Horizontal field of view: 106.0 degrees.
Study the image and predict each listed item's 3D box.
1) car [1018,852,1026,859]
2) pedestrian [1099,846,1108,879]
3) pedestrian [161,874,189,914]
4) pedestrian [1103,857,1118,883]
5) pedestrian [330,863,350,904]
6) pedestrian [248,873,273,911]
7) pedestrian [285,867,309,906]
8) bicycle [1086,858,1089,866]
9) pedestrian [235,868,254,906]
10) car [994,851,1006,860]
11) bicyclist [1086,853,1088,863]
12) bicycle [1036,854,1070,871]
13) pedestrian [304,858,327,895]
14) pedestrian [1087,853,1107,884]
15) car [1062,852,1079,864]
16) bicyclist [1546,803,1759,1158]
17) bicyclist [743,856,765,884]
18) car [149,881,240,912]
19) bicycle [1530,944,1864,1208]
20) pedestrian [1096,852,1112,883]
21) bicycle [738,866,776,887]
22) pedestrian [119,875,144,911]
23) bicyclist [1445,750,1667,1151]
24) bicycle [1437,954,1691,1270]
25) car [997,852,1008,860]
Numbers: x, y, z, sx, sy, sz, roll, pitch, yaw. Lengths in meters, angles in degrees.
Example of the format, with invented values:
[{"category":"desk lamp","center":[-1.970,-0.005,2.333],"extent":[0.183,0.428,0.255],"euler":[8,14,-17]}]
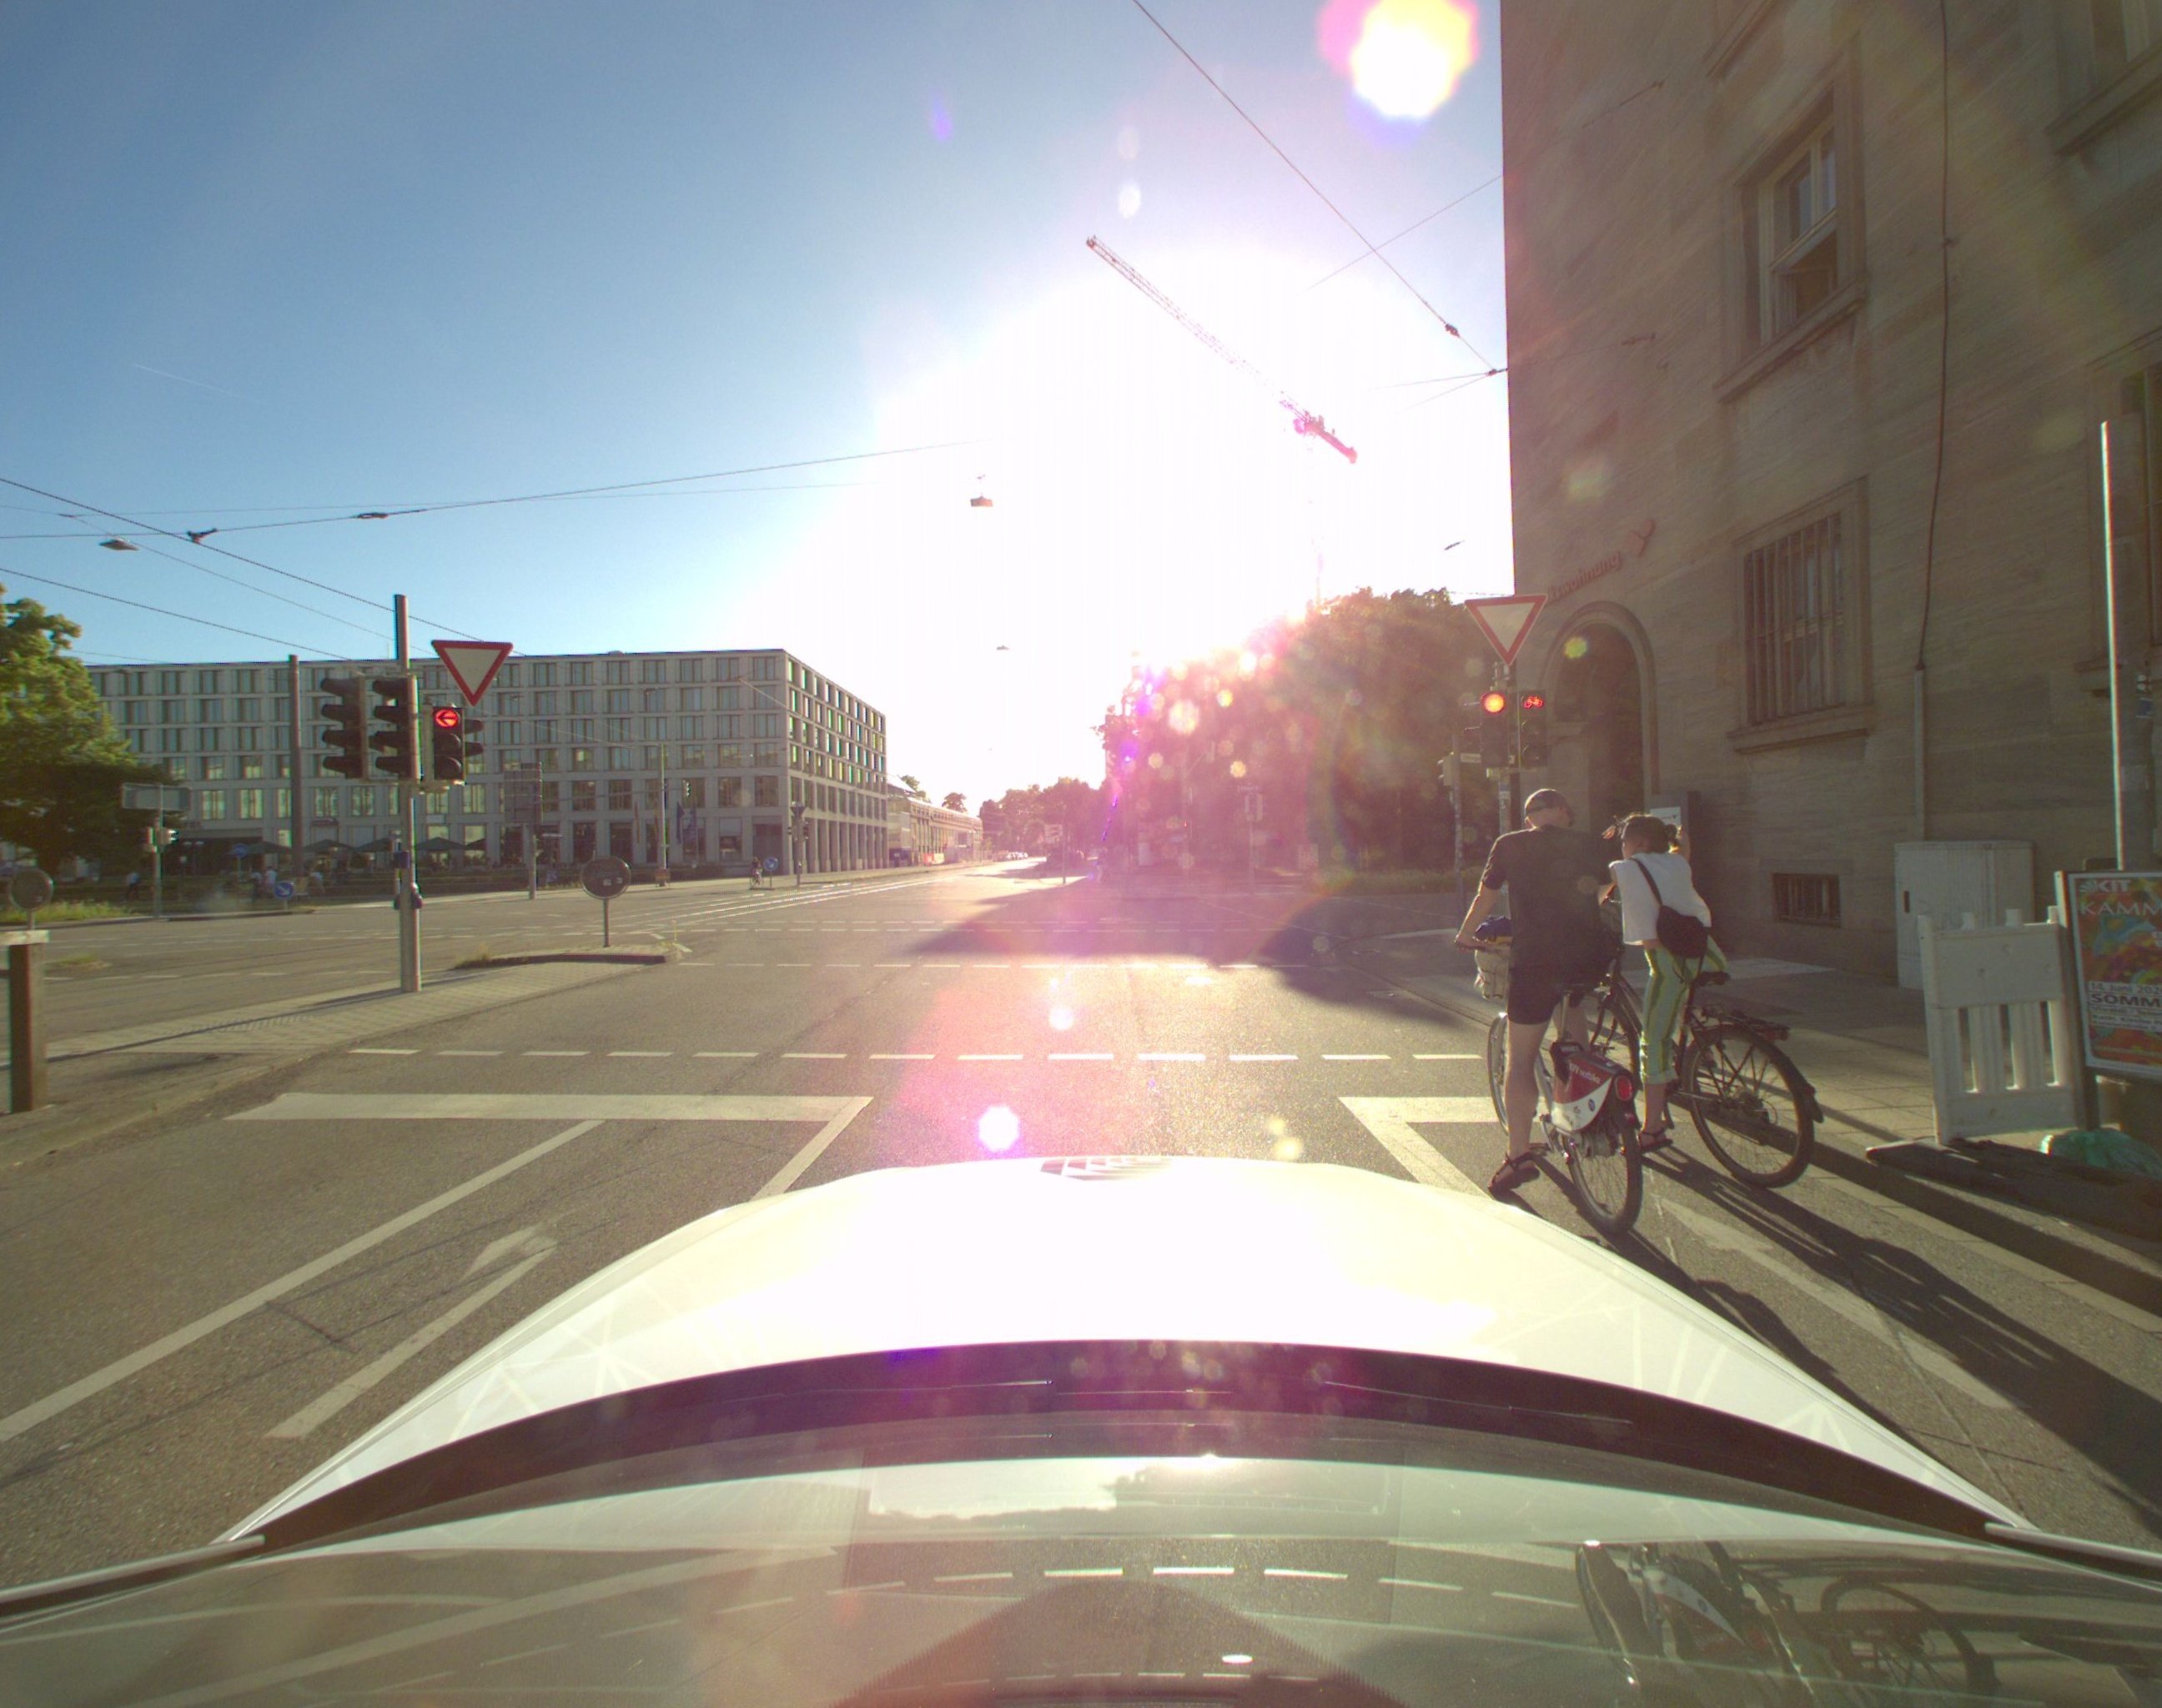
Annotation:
[{"category":"car","center":[-14.052,0.327,194.974],"extent":[1.478,1.750,4.002],"euler":[-2,0,2]},{"category":"pedestrian","center":[1.230,0.452,44.850],"extent":[0.358,1.804,0.508],"euler":[-2,0,14]},{"category":"pedestrian","center":[-47.059,2.063,42.308],"extent":[0.528,2.013,0.800],"euler":[-2,0,-5]},{"category":"pedestrian","center":[1.546,0.836,43.122],"extent":[0.749,1.332,0.743],"euler":[-2,0,3]},{"category":"pedestrian","center":[-42.160,1.667,46.335],"extent":[0.568,2.280,0.532],"euler":[-2,0,-5]},{"category":"pedestrian","center":[-44.693,2.059,44.390],"extent":[0.528,2.013,0.800],"euler":[-2,0,-5]},{"category":"pedestrian","center":[-42.990,1.784,44.660],"extent":[0.648,2.069,0.649],"euler":[-2,-4,-5]},{"category":"bicycle","center":[0.747,0.970,98.572],"extent":[0.323,0.868,1.484],"euler":[-2,0,2]},{"category":"pedestrian","center":[-44.786,1.774,43.596],"extent":[0.490,2.013,0.493],"euler":[-2,0,14]},{"category":"car","center":[-15.557,0.317,156.656],"extent":[1.724,1.653,4.002],"euler":[-2,0,2]},{"category":"bicyclist","center":[0.724,0.485,98.503],"extent":[0.317,1.127,0.291],"euler":[-2,0,1]},{"category":"bicycle","center":[-2.323,0.726,67.364],"extent":[2.728,1.367,0.633],"euler":[-1,-1,12]},{"category":"pedestrian","center":[-43.038,1.256,45.778],"extent":[0.528,2.013,0.800],"euler":[-2,0,-5]},{"category":"pedestrian","center":[0.869,0.777,43.636],"extent":[0.980,1.587,0.661],"euler":[-2,-1,3]},{"category":"car","center":[-1.187,0.432,92.812],"extent":[1.814,1.279,3.999],"euler":[-2,0,0]},{"category":"bicyclist","center":[2.960,0.603,4.302],"extent":[0.519,1.679,0.860],"euler":[-2,0,5]},{"category":"bicyclist","center":[-19.407,0.925,48.360],"extent":[0.872,1.641,0.822],"euler":[-2,0,3]},{"category":"car","center":[-46.615,2.223,42.855],"extent":[3.172,1.438,1.472],"euler":[-2,0,2]},{"category":"bicycle","center":[3.098,1.032,4.361],"extent":[0.424,0.876,1.953],"euler":[-2,0,5]},{"category":"pedestrian","center":[1.257,0.730,43.992],"extent":[0.792,1.639,0.534],"euler":[-2,0,4]},{"category":"bicycle","center":[-19.422,1.334,48.924],"extent":[0.872,1.121,3.015],"euler":[-2,0,3]},{"category":"pedestrian","center":[-51.738,2.106,44.367],"extent":[0.557,1.903,0.684],"euler":[-2,0,10]},{"category":"bicyclist","center":[2.156,0.409,3.789],"extent":[0.665,1.678,0.659],"euler":[-2,0,10]},{"category":"bicycle","center":[2.194,1.063,3.960],"extent":[0.387,0.905,1.956],"euler":[-2,0,10]},{"category":"car","center":[-15.500,0.374,160.757],"extent":[1.724,1.653,4.002],"euler":[-2,0,2]}]
